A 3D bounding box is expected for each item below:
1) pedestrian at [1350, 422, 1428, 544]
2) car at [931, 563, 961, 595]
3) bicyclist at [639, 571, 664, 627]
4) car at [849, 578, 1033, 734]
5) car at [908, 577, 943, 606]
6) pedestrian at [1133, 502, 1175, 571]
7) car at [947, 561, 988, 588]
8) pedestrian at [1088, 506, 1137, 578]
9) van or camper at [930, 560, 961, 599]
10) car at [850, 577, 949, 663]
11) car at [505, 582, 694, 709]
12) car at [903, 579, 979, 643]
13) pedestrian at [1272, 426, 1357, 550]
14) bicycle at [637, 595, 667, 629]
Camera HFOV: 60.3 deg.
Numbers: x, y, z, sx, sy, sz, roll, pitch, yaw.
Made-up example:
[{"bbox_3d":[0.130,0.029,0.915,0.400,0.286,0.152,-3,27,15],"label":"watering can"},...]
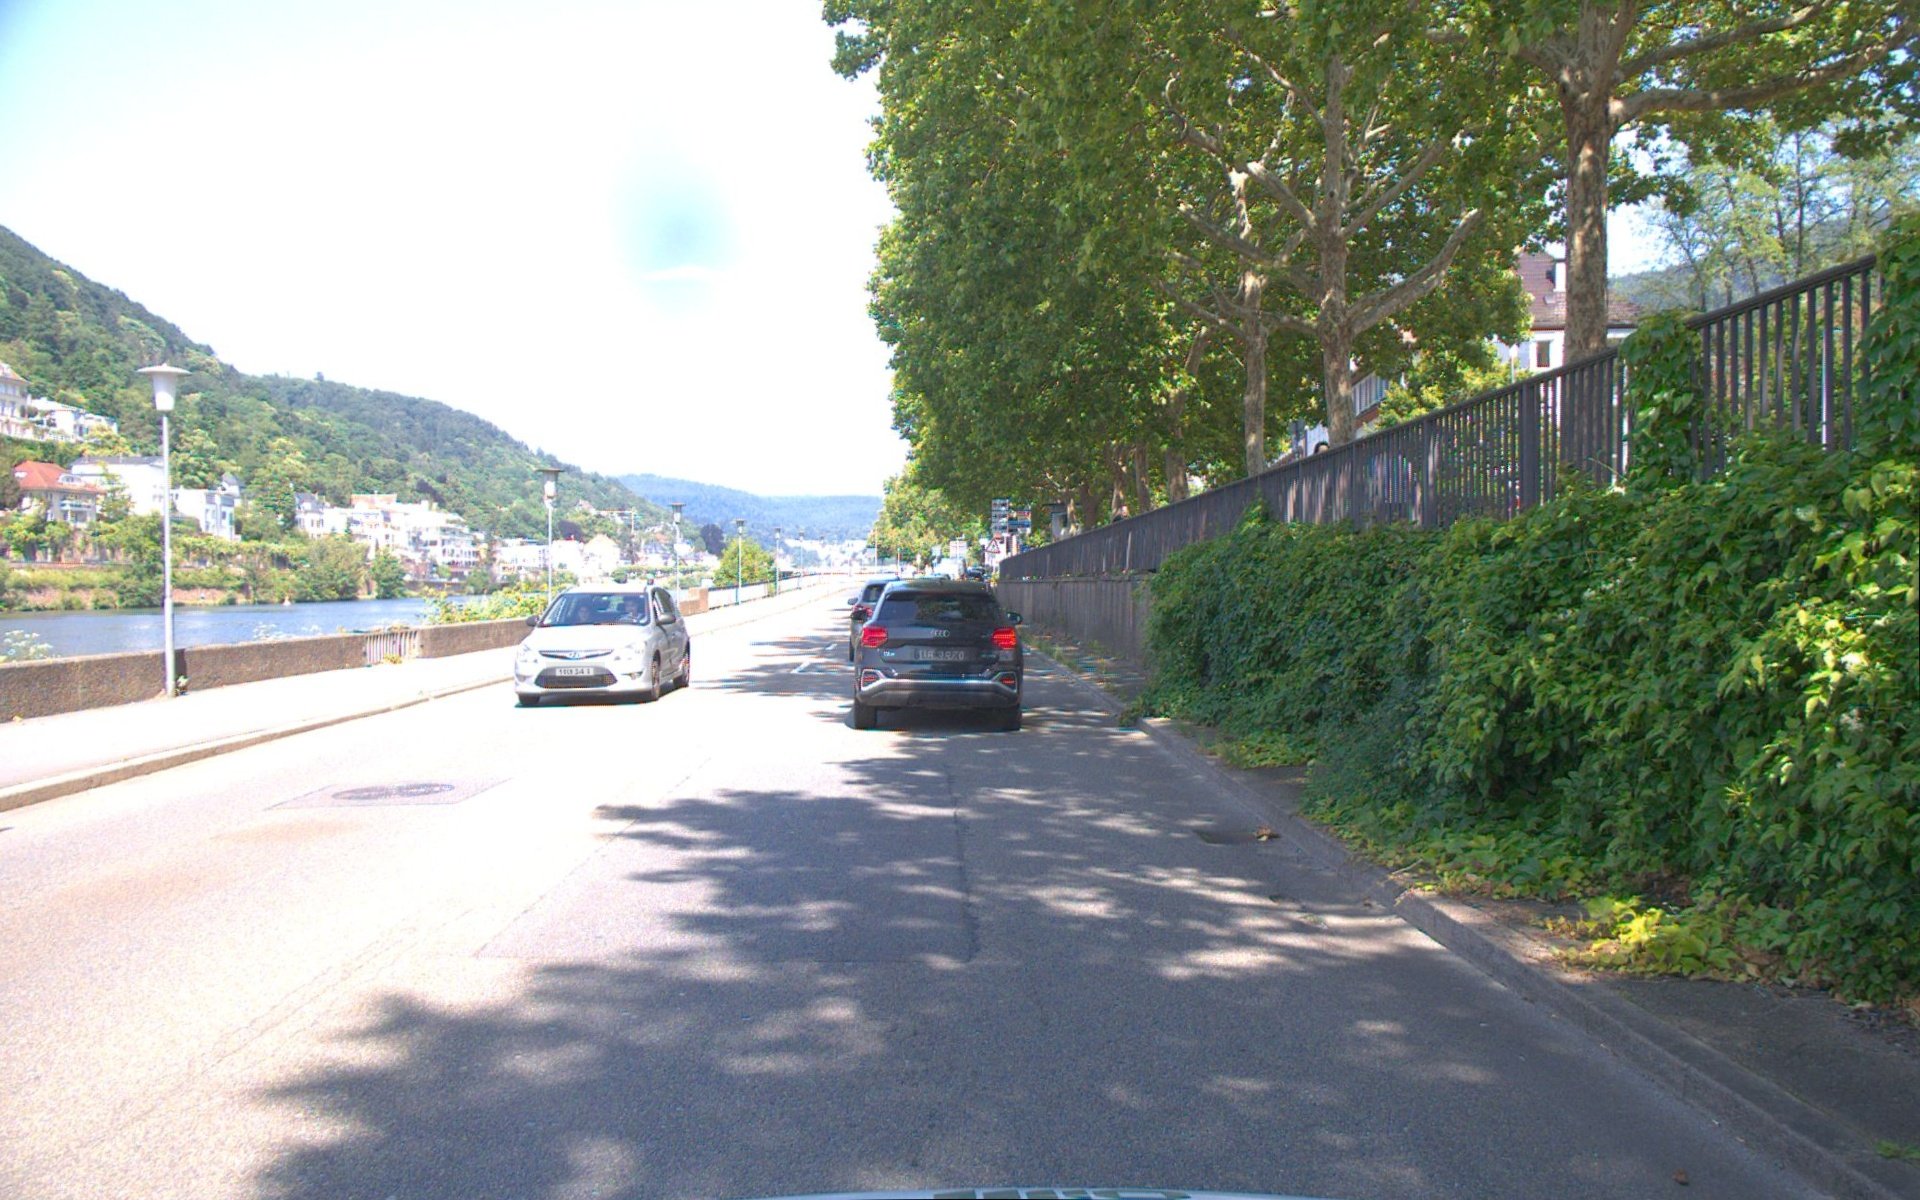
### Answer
[{"bbox_3d":[5.156,-1.394,19.911,0.631,1.389,0.794,-3,1,-4],"label":"pedestrian"},{"bbox_3d":[-0.992,-1.482,115.710,1.953,2.207,3.999,0,1,-2],"label":"car"},{"bbox_3d":[-9.634,-0.035,51.671,0.624,1.703,0.871,0,0,-2],"label":"bicyclist"},{"bbox_3d":[-0.254,0.527,18.227,1.791,1.512,3.999,0,1,-2],"label":"car"},{"bbox_3d":[-1.852,-0.485,87.771,1.791,1.469,3.999,0,1,-2],"label":"car"},{"bbox_3d":[4.071,-1.319,34.727,0.667,1.389,0.989,-3,1,-2],"label":"pedestrian"},{"bbox_3d":[0.573,-2.103,136.009,3.036,2.048,5.822,-3,1,-2],"label":"car"},{"bbox_3d":[3.551,-1.332,38.516,0.918,1.607,1.027,-3,1,-4],"label":"pedestrian"},{"bbox_3d":[-1.076,-1.552,124.522,2.262,2.897,4.246,0,1,0],"label":"van or camper"},{"bbox_3d":[-1.163,0.338,32.085,1.791,1.537,3.999,0,1,-2],"label":"car"},{"bbox_3d":[-4.666,0.527,21.950,1.697,1.467,4.044,-2,1,-2],"label":"car"},{"bbox_3d":[-0.510,0.235,41.316,1.791,1.512,3.999,0,1,-2],"label":"car"},{"bbox_3d":[4.225,-1.323,19.764,0.738,1.389,0.814,-3,1,-4],"label":"pedestrian"},{"bbox_3d":[-9.603,0.362,51.557,0.620,1.029,1.985,0,1,-2],"label":"bicycle"}]
